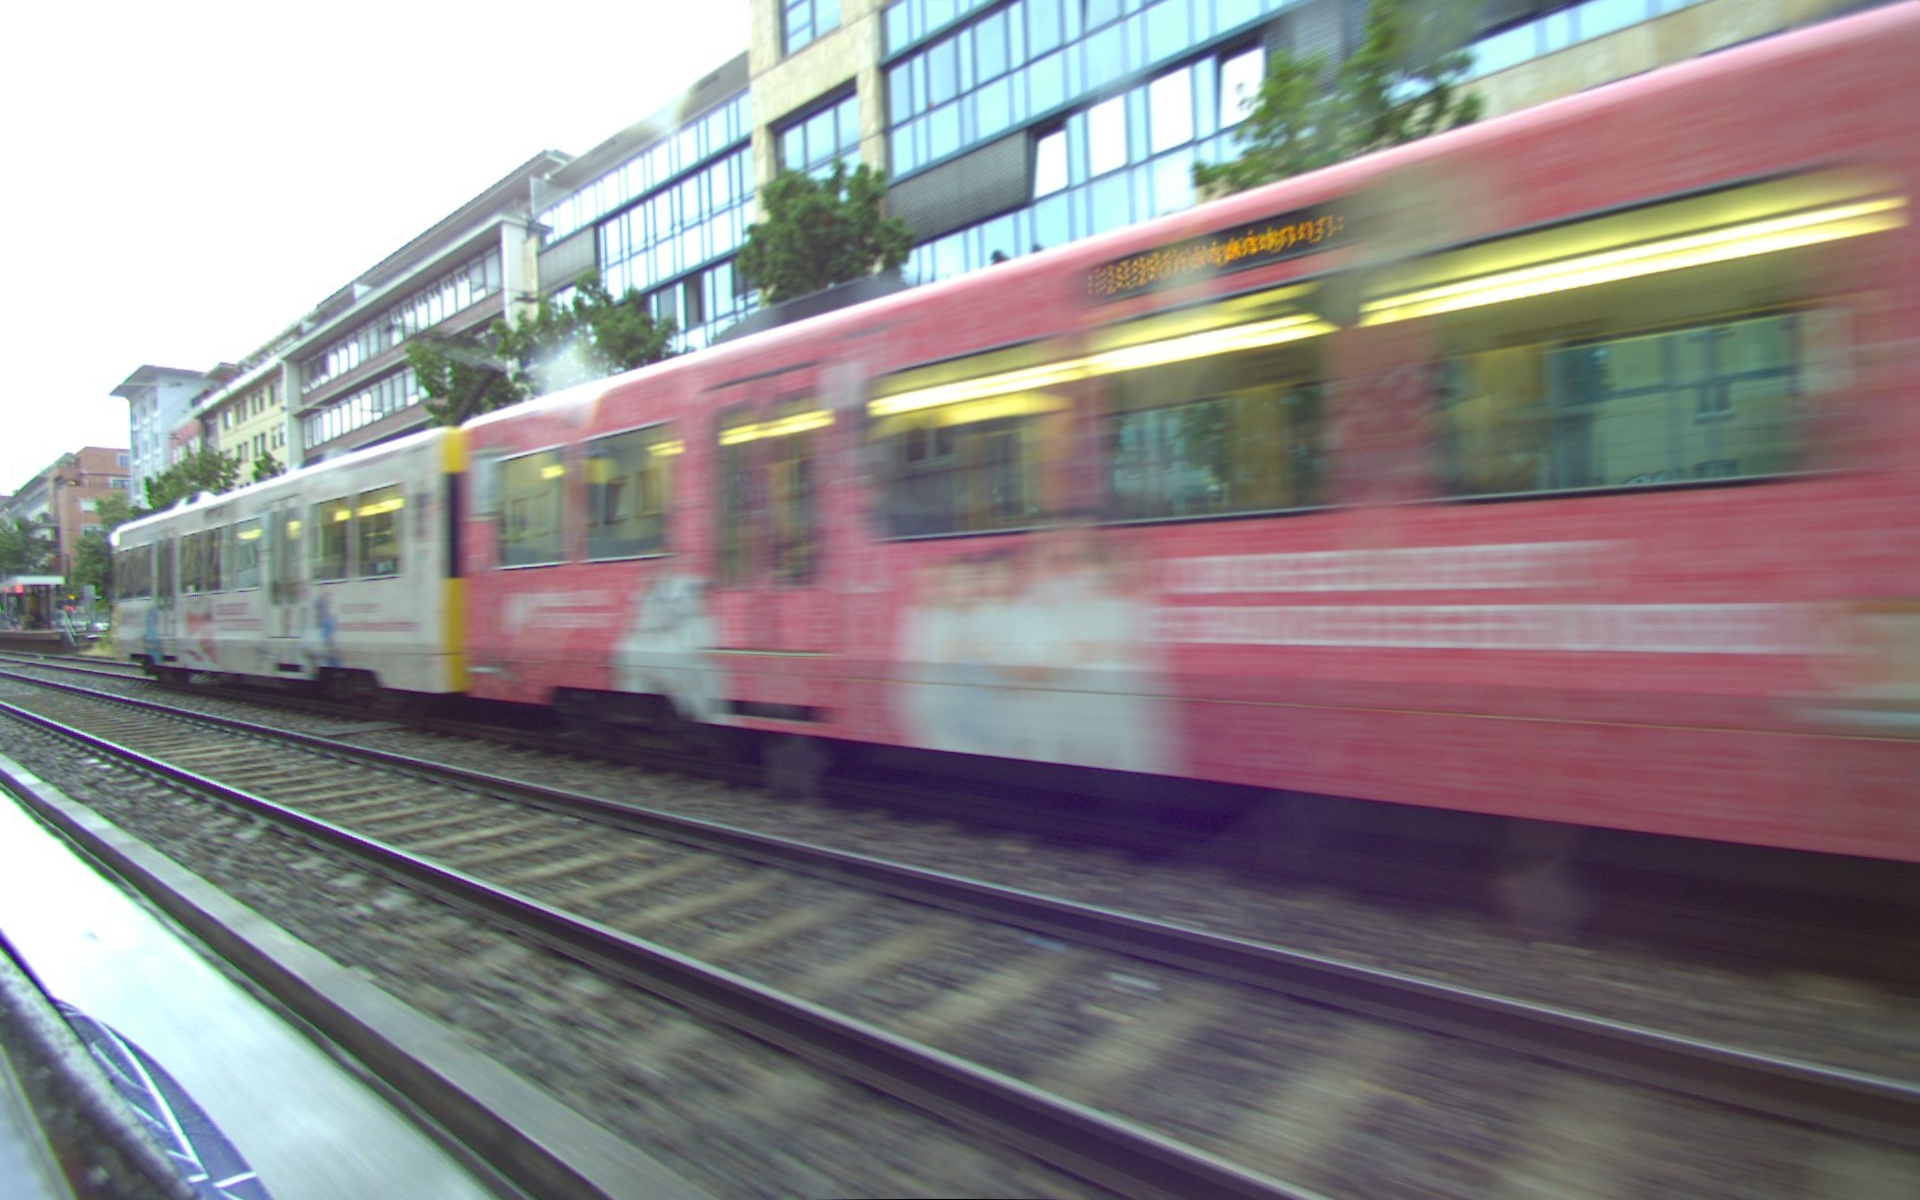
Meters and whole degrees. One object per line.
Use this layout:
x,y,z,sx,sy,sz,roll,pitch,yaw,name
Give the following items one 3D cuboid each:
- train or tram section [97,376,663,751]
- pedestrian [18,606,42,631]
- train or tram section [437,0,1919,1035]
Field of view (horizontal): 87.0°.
-11.779,-0.289,18.134,18.401,4.081,2.872,-1,0,41,train or tram section
-54.421,1.090,59.205,0.637,1.396,0.946,-2,-1,38,pedestrian
2.419,-0.599,5.826,18.756,4.081,2.872,-1,0,41,train or tram section
